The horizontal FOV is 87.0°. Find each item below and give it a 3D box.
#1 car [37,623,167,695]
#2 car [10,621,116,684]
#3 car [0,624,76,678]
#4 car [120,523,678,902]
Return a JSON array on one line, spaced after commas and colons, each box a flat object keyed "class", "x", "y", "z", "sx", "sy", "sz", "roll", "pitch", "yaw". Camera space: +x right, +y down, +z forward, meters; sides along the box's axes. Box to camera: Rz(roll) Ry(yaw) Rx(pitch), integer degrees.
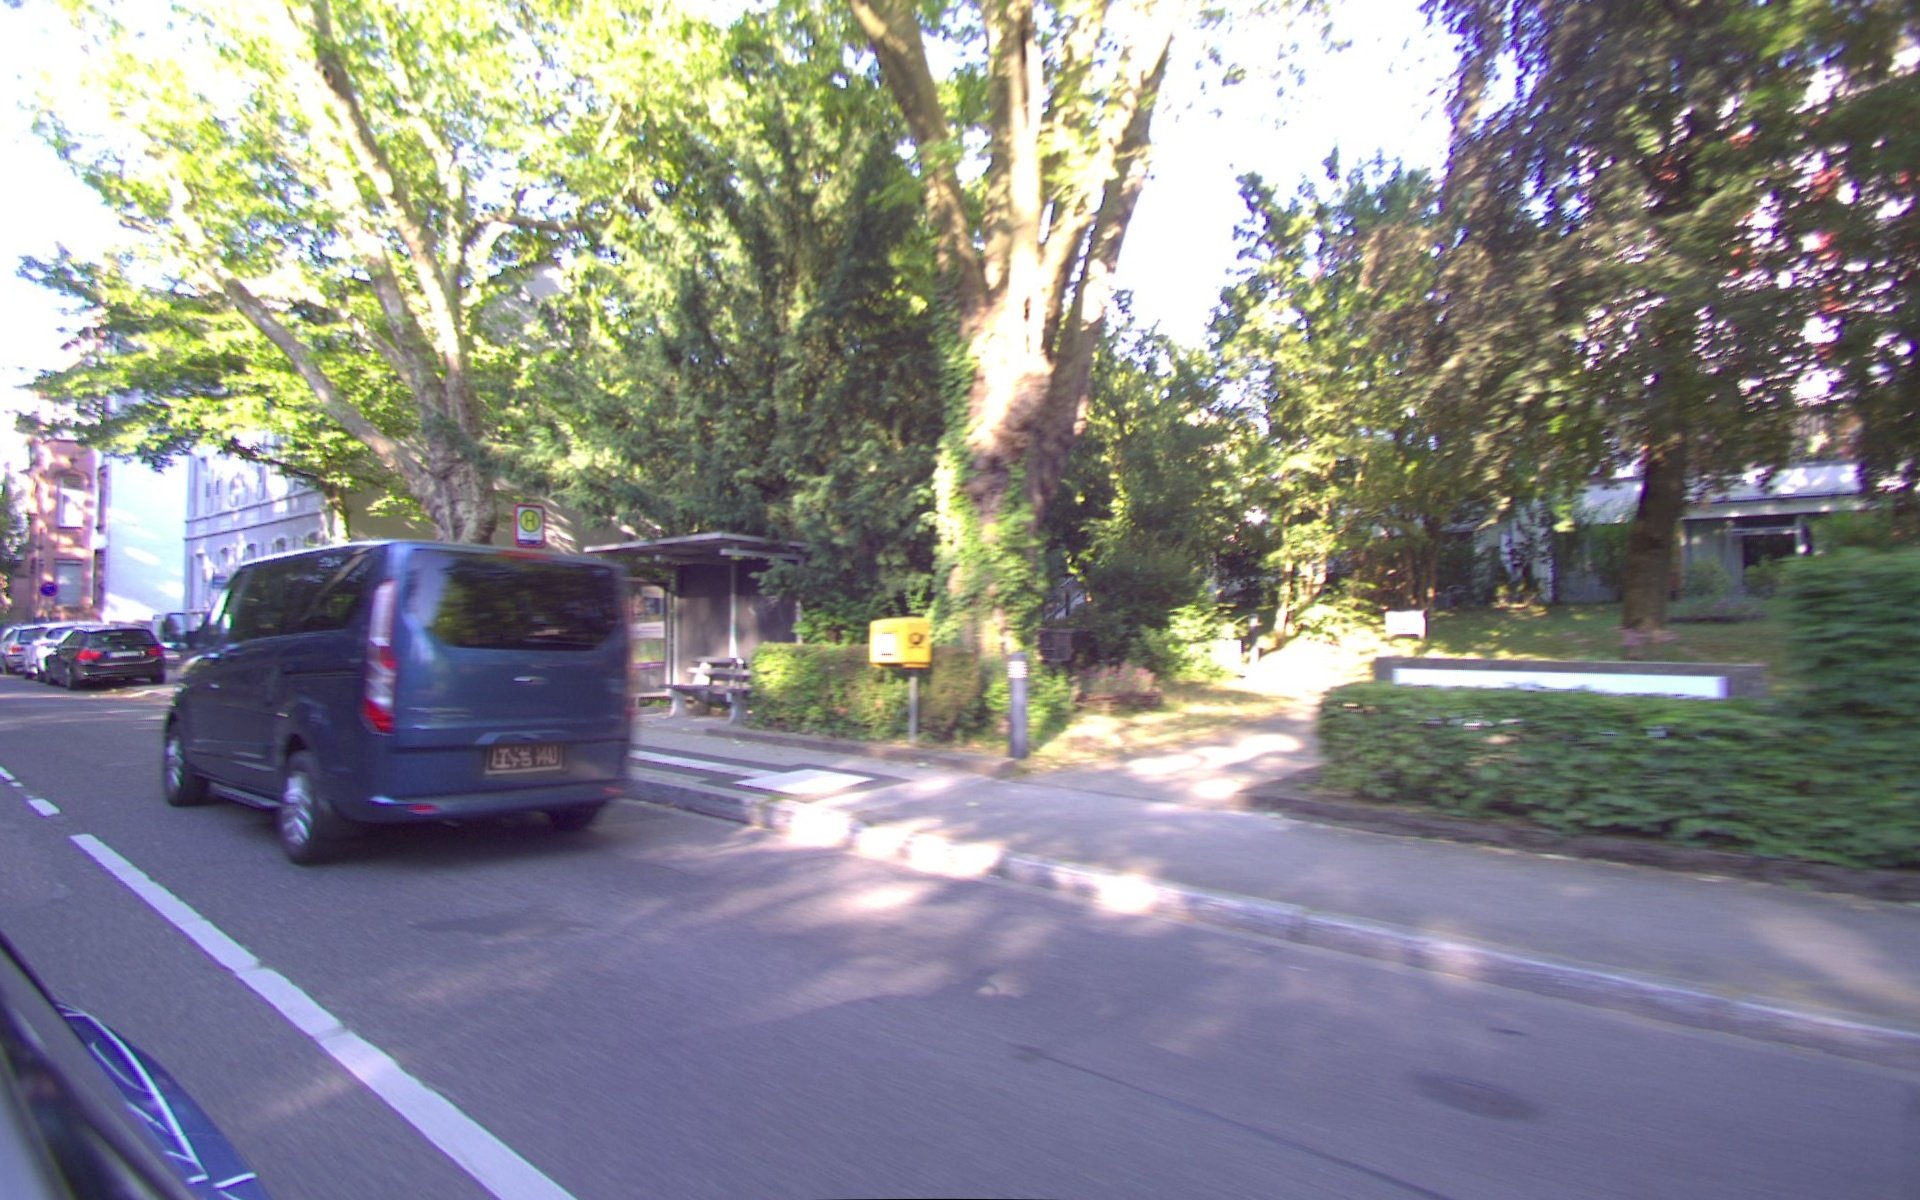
[{"class": "car", "x": -19.966, "y": 1.317, "z": 23.511, "sx": 3.613, "sy": 1.445, "sz": 1.668, "roll": -2, "pitch": 1, "yaw": 40}, {"class": "car", "x": -23.776, "y": 1.363, "z": 26.804, "sx": 3.319, "sy": 1.558, "sz": 1.607, "roll": -2, "pitch": -2, "yaw": 40}, {"class": "car", "x": -27.752, "y": 1.480, "z": 30.133, "sx": 3.556, "sy": 1.445, "sz": 1.607, "roll": -1, "pitch": 1, "yaw": 40}, {"class": "car", "x": -4.400, "y": 0.683, "z": 7.597, "sx": 4.772, "sy": 1.983, "sz": 1.974, "roll": -2, "pitch": -4, "yaw": 39}]
